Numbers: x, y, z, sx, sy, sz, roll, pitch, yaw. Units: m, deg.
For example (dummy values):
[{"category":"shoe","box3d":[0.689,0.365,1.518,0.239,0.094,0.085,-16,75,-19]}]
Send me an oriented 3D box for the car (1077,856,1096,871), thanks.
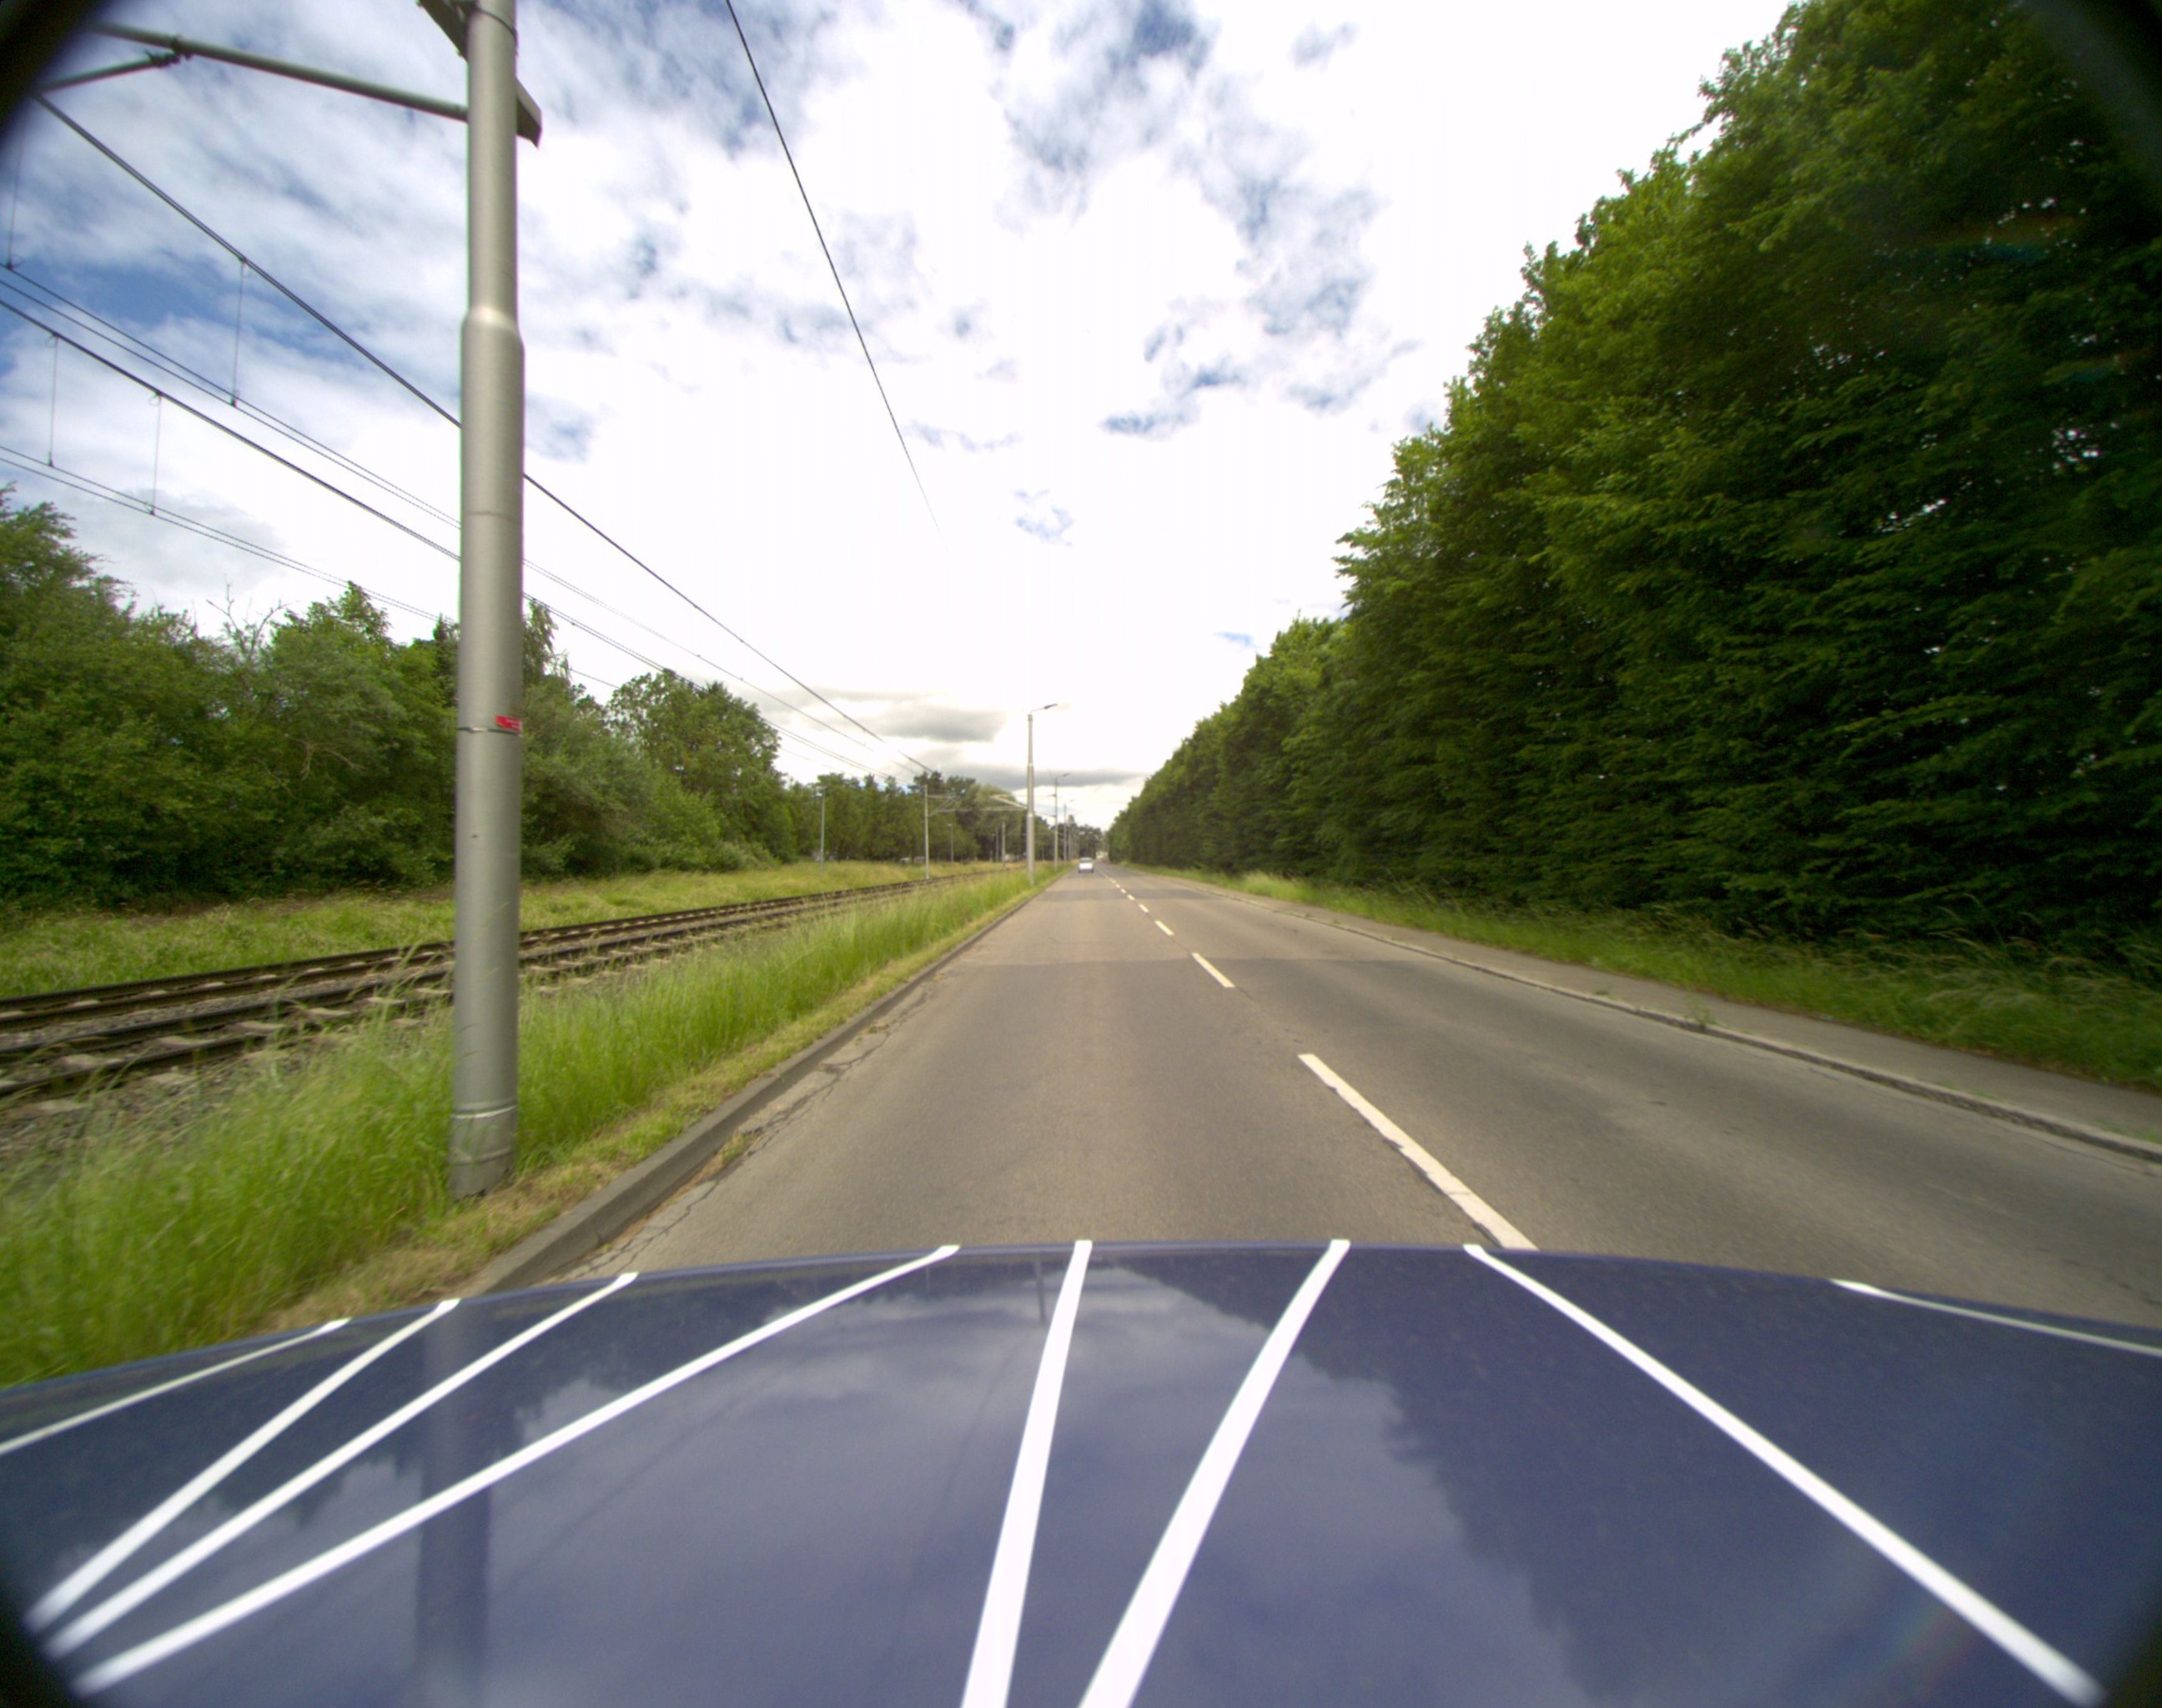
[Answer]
[{"category":"car","box3d":[0.620,1.051,84.608,1.999,1.679,3.999,-1,0,-1]}]
